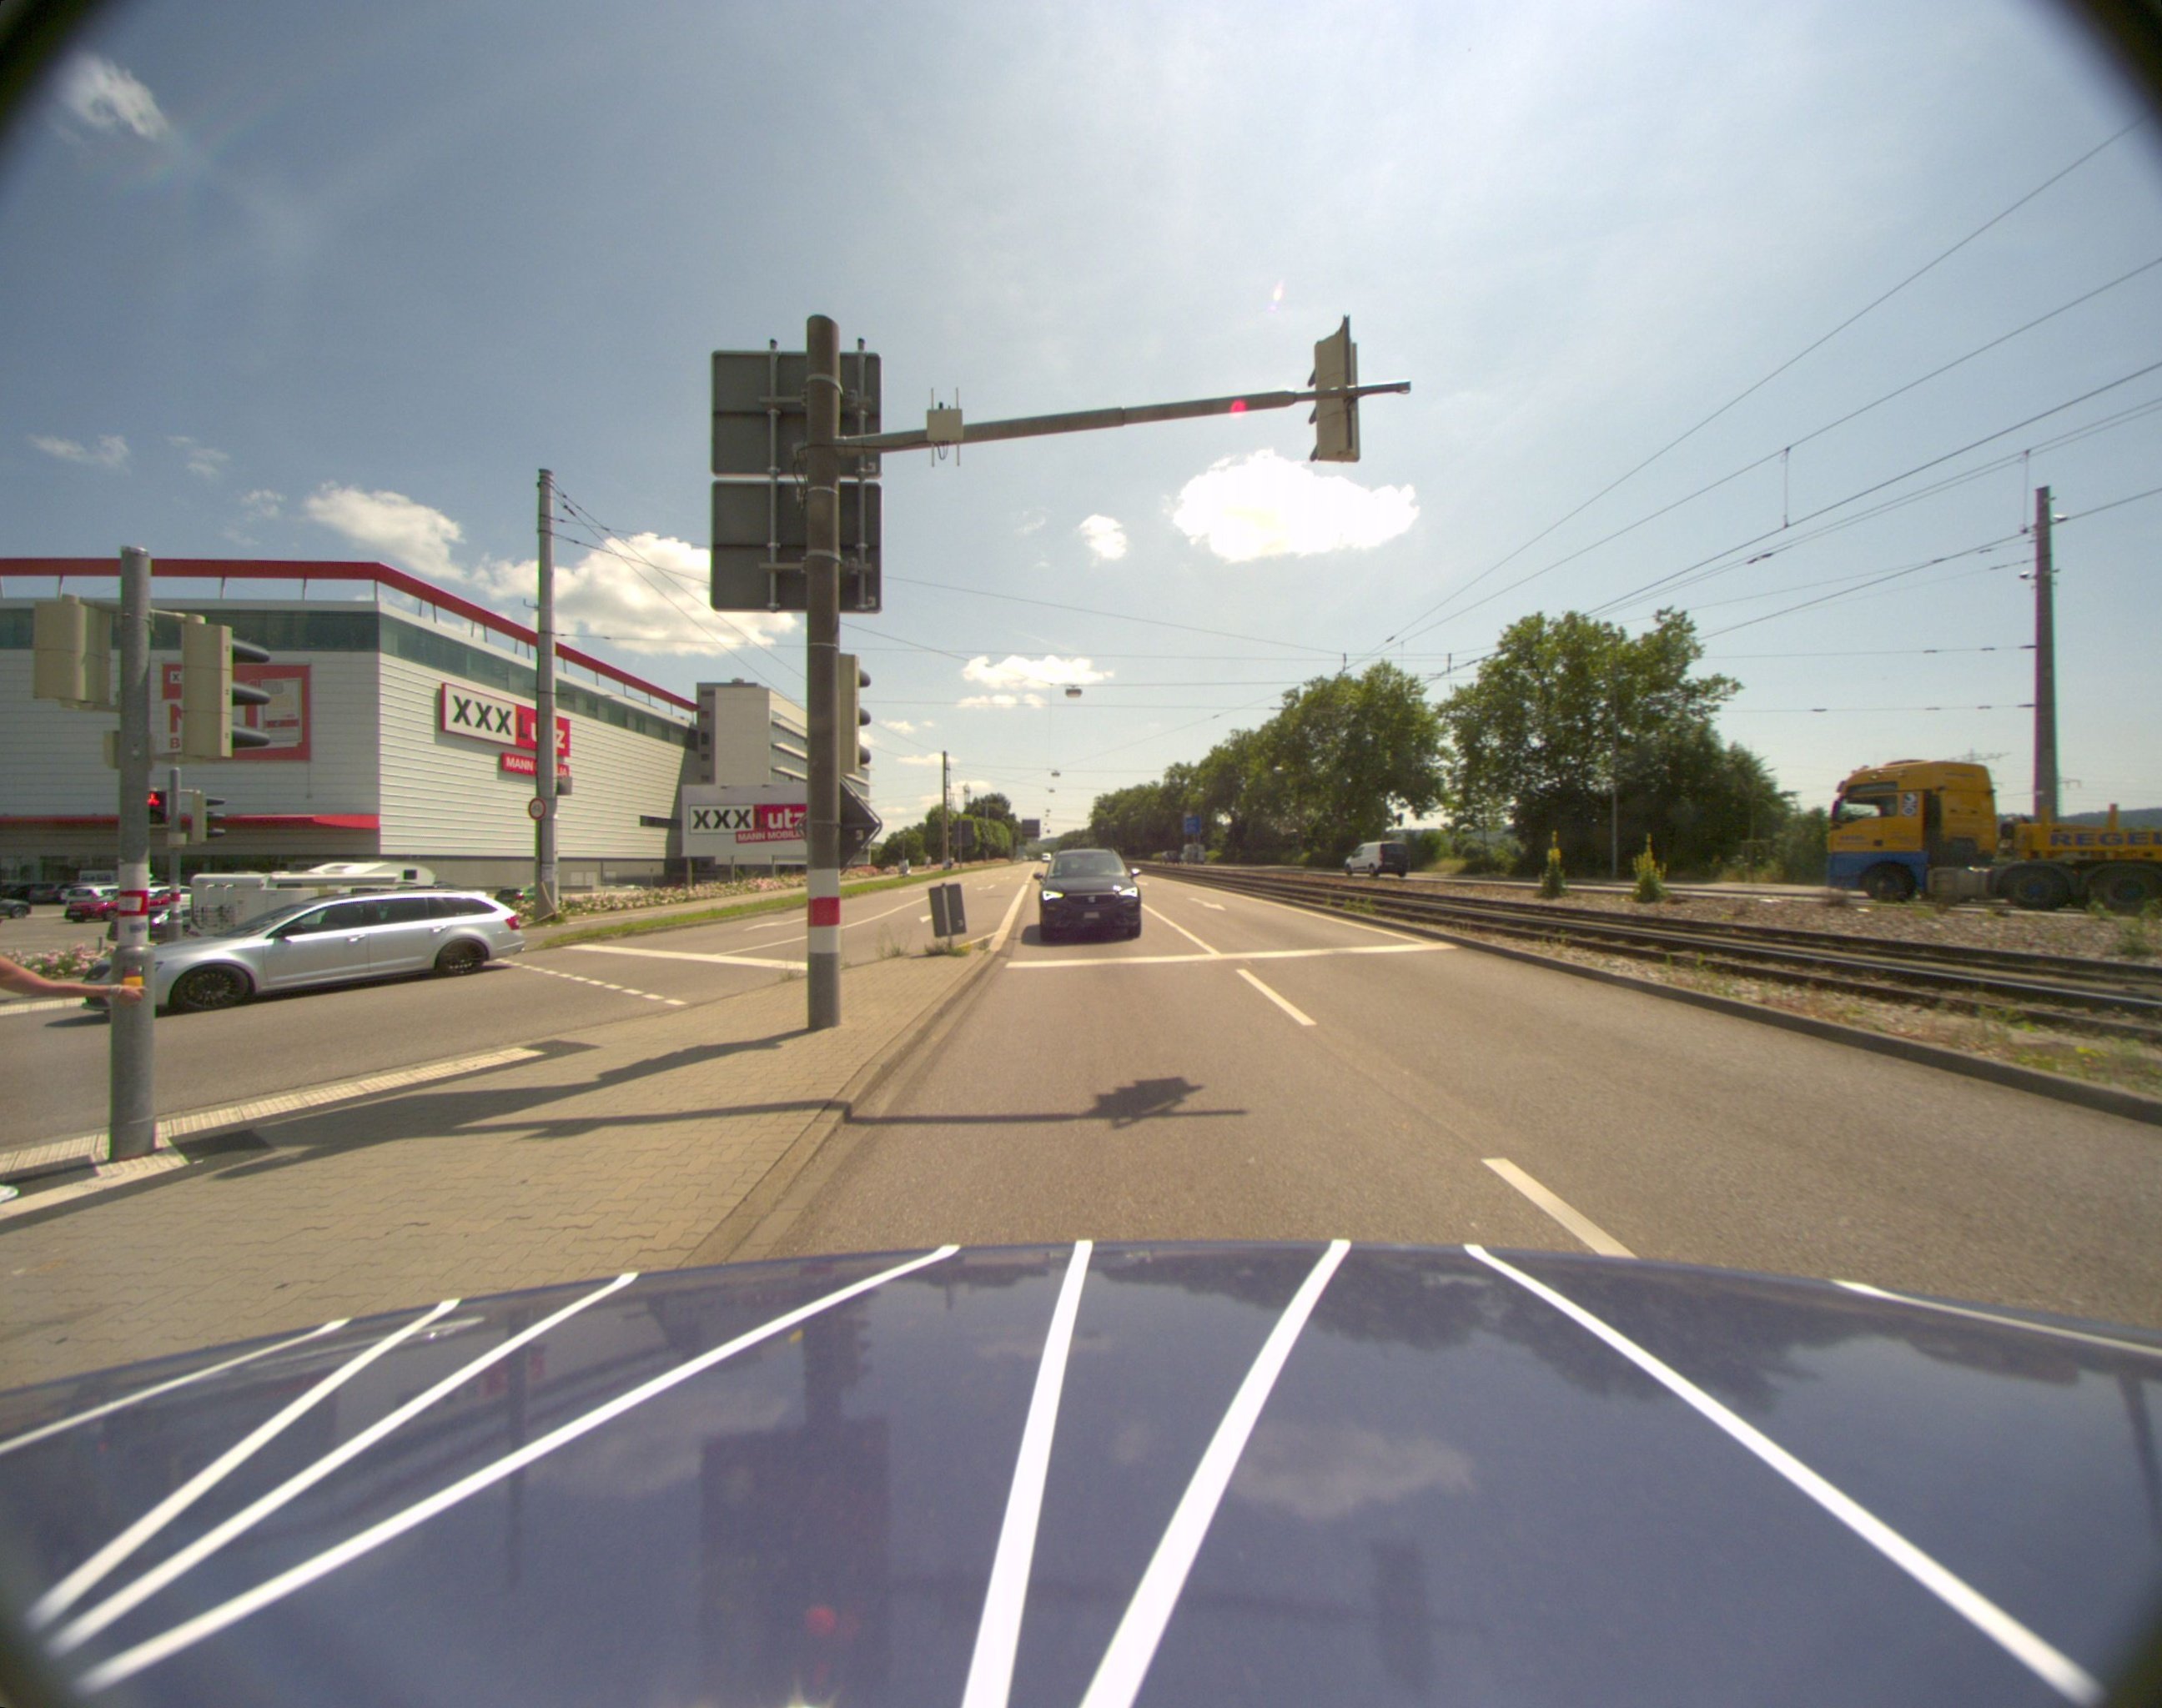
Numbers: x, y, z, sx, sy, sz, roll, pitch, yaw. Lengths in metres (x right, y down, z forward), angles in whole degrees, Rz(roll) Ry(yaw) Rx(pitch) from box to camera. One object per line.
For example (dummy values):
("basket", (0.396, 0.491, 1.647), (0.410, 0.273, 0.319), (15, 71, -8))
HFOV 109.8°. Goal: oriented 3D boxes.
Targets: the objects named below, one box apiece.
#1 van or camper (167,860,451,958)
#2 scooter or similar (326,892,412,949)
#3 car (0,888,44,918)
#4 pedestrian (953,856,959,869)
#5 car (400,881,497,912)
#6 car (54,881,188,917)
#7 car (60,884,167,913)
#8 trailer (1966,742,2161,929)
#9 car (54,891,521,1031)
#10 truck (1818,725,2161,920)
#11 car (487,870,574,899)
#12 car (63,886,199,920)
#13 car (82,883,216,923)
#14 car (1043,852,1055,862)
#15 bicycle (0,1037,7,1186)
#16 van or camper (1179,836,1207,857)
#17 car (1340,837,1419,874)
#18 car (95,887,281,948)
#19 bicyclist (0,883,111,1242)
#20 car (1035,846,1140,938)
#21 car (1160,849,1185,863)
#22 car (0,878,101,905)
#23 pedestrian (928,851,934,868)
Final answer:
("van or camper", (-28.066, 1.800, 28.339), (2.716, 2.929, 7.612), (-2, 1, 0))
("scooter or similar", (-16.575, 1.526, 17.709), (0.479, 1.120, 1.280), (-2, 4, 26))
("car", (-57.654, 2.646, 39.621), (1.649, 1.517, 3.999), (-2, 0, -1))
("pedestrian", (-15.437, 1.049, 93.556), (0.599, 1.645, 0.634), (-2, 1, -3))
("car", (-37.876, 2.517, 45.667), (1.999, 1.546, 4.519), (-2, 0, -1))
("car", (-55.520, 2.564, 44.098), (1.999, 1.724, 4.519), (-2, 0, -1))
("car", (-69.758, 3.169, 54.888), (1.999, 1.683, 4.518), (-2, 0, -3))
("trailer", (24.786, -0.423, 11.350), (3.126, 3.848, 15.465), (-2, 0, -12))
("car", (-11.427, 1.412, 11.392), (1.799, 1.390, 4.468), (-3, 0, 29))
("truck", (23.275, -0.678, 18.265), (3.137, 4.015, 7.466), (-2, 0, -12))
("car", (-33.084, 1.803, 45.871), (1.999, 1.554, 4.519), (-1, 0, -1))
("car", (-50.155, 2.558, 40.269), (1.859, 1.404, 4.254), (-2, 1, -1))
("car", (-52.576, 2.706, 43.037), (1.999, 1.884, 4.519), (-2, 0, -1))
("car", (-5.856, 0.529, 139.322), (1.819, 1.829, 4.000), (-1, 0, 2))
("bicycle", (-5.780, 1.269, 3.394), (1.874, 1.155, 0.833), (-2, 0, 44))
("van or camper", (14.238, -0.983, 96.650), (2.000, 2.571, 5.840), (0, 0, -7))
("car", (15.822, 0.114, 40.552), (2.000, 1.827, 4.431), (0, -2, -7))
("car", (-35.027, 2.407, 30.037), (1.998, 2.002, 4.453), (-1, 0, 0))
("bicyclist", (-5.627, 1.016, 3.662), (0.817, 1.691, 0.798), (-3, 1, -23))
("car", (0.082, 0.662, 15.482), (1.820, 1.583, 3.999), (-2, 0, -1))
("car", (11.150, 0.219, 92.866), (2.000, 1.627, 4.262), (1, 0, -8))
("car", (-74.409, 2.672, 54.672), (1.999, 1.683, 4.518), (-2, 0, -3))
("pedestrian", (-16.074, 0.595, 81.468), (0.518, 1.783, 0.634), (-2, 1, -3))
